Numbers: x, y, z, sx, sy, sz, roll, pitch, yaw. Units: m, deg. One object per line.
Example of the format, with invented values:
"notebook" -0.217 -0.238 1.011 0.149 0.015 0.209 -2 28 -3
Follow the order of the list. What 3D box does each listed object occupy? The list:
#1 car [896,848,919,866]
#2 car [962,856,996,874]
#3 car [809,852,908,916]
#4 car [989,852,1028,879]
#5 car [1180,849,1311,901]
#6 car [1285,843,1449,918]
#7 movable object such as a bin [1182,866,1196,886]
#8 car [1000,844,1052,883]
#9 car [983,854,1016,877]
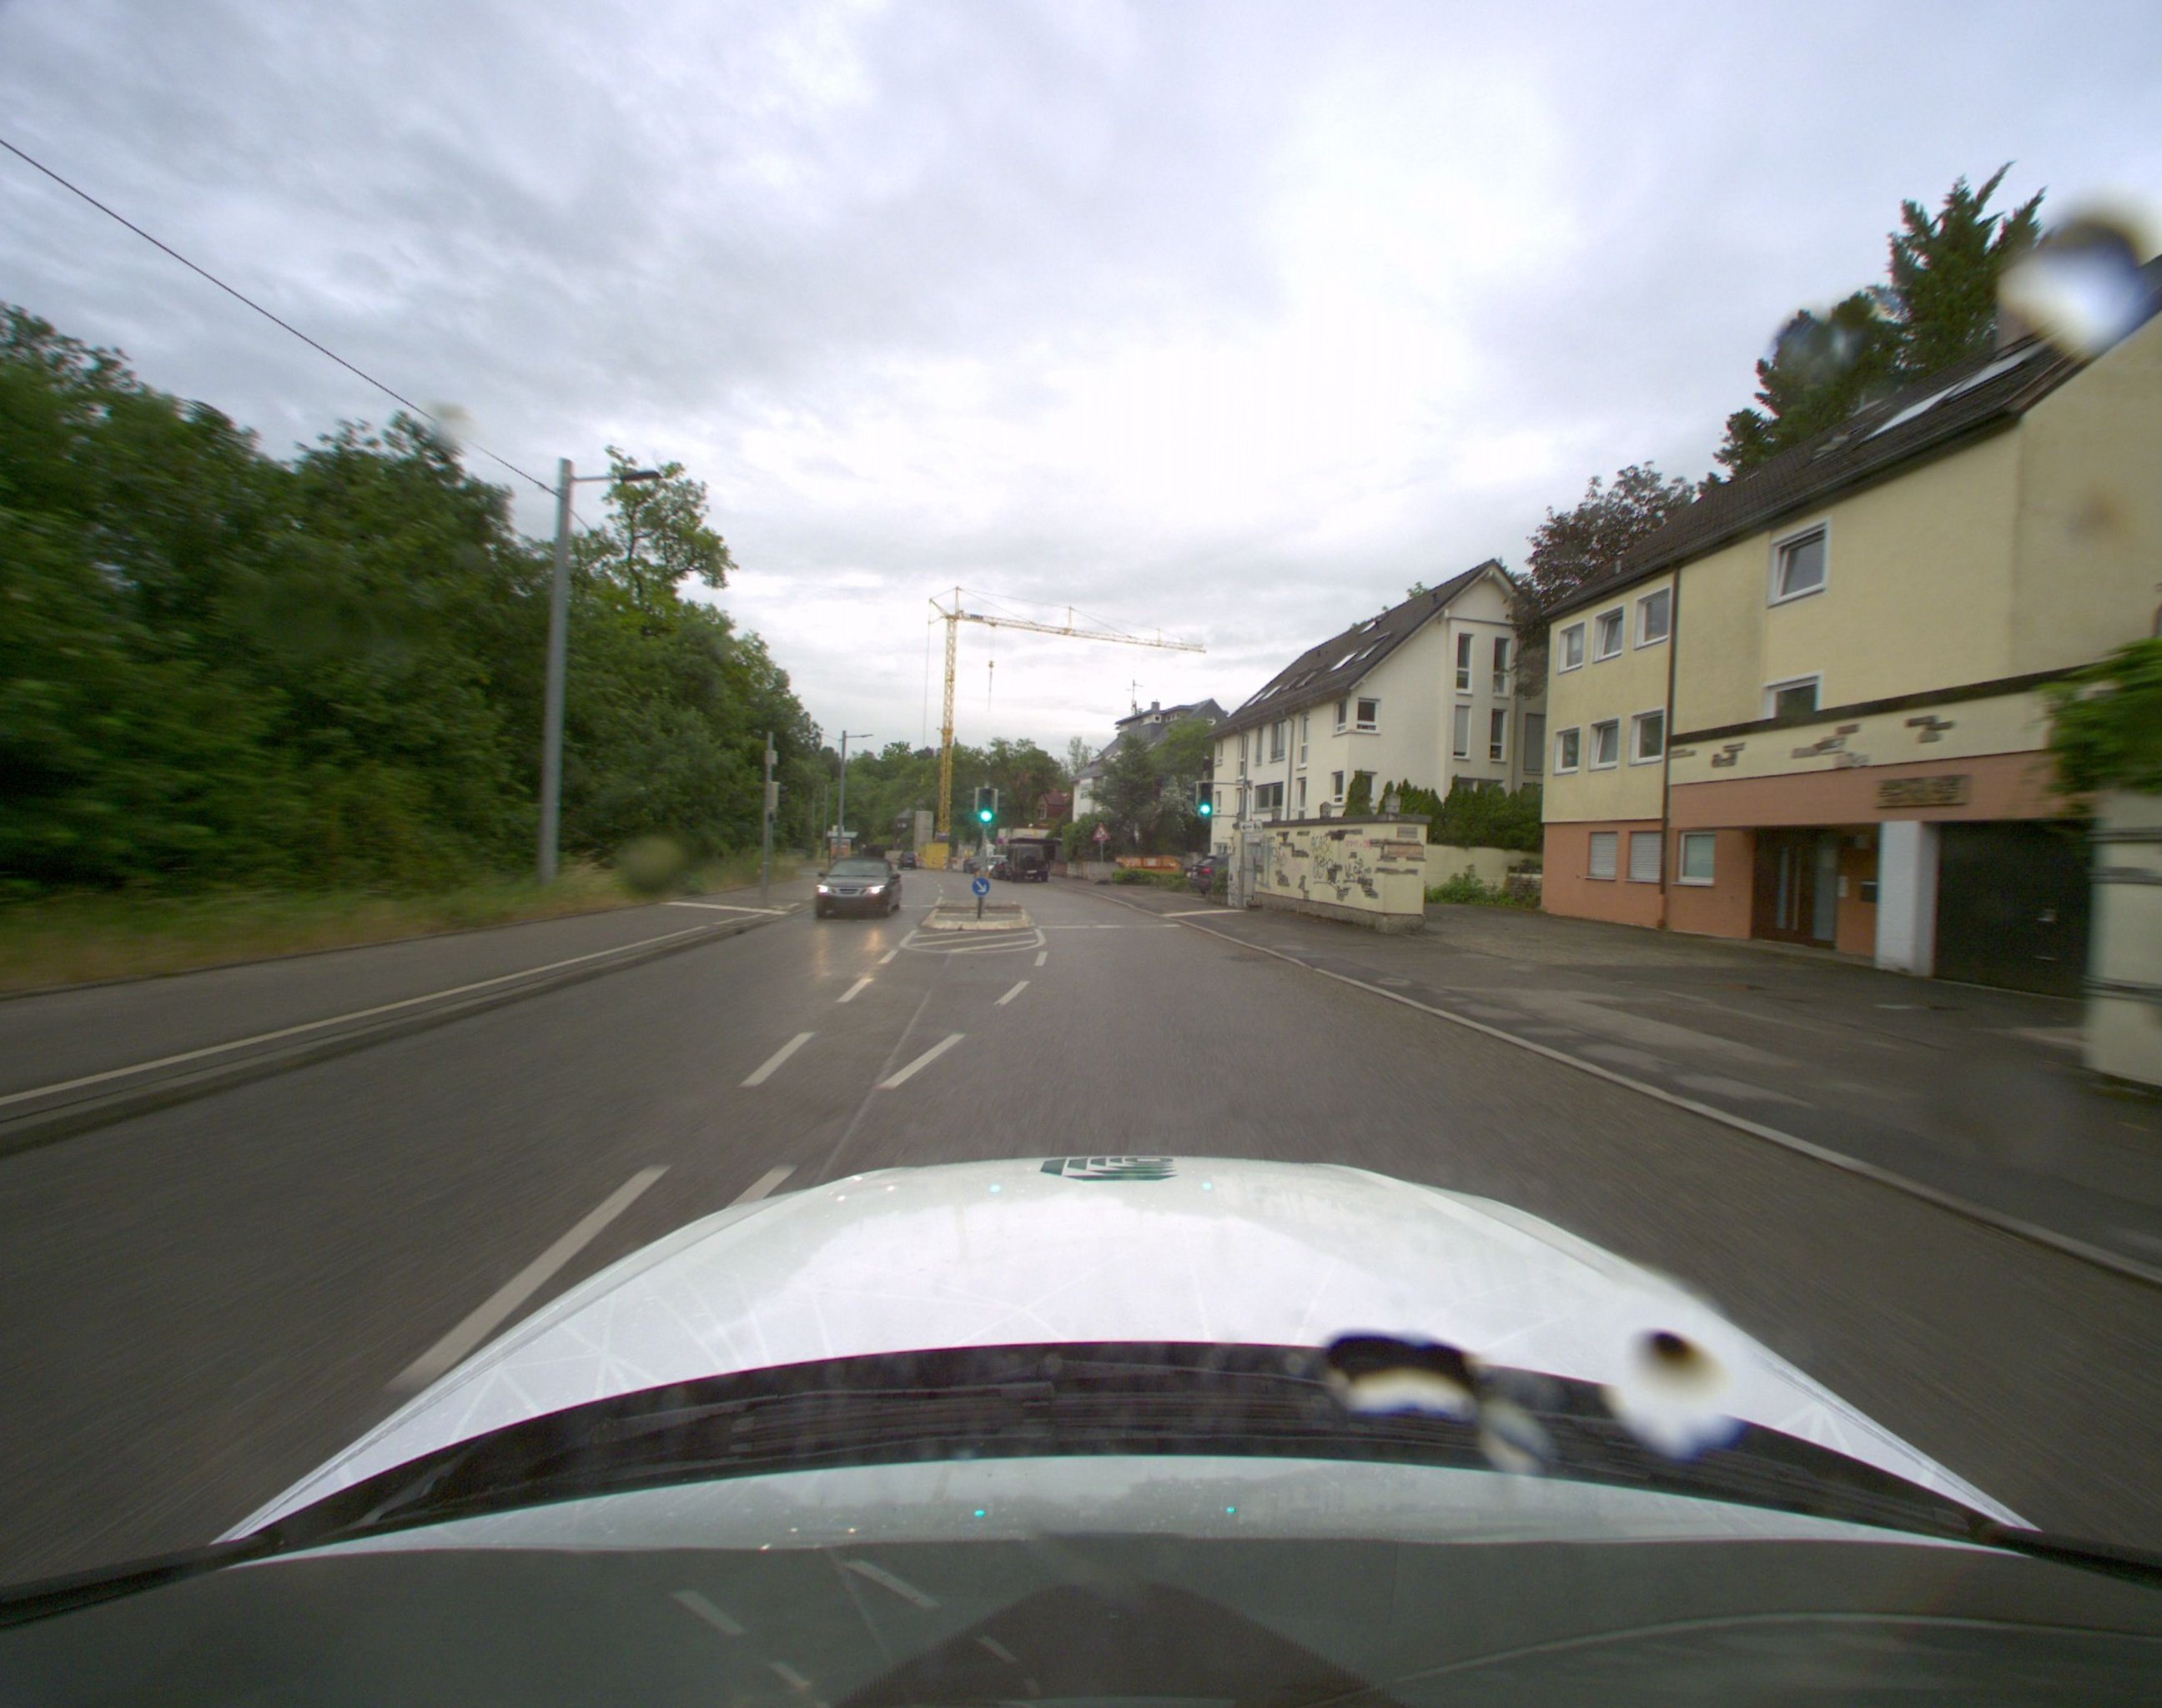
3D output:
"car" -18.287 0.319 85.819 1.937 1.751 3.976 2 0 -18
"car" -8.587 0.895 68.246 1.937 1.422 4.807 2 0 -19
"car" -5.541 0.712 20.800 1.741 1.460 4.404 1 -1 -6
"car" -4.529 0.690 50.340 1.933 1.596 4.377 -1 0 -12
"car" 6.081 0.785 30.305 4.330 1.596 1.984 4 -1 -12
"car" 7.143 0.631 20.855 1.933 1.596 4.323 4 -1 -12
"movable object such as a bin" 5.297 1.076 39.873 0.507 0.941 0.593 1 0 -13
"car" -3.140 0.490 45.486 1.997 2.013 4.931 -1 0 -15
"car" -5.453 0.763 54.276 1.675 1.457 3.369 0 0 -14
